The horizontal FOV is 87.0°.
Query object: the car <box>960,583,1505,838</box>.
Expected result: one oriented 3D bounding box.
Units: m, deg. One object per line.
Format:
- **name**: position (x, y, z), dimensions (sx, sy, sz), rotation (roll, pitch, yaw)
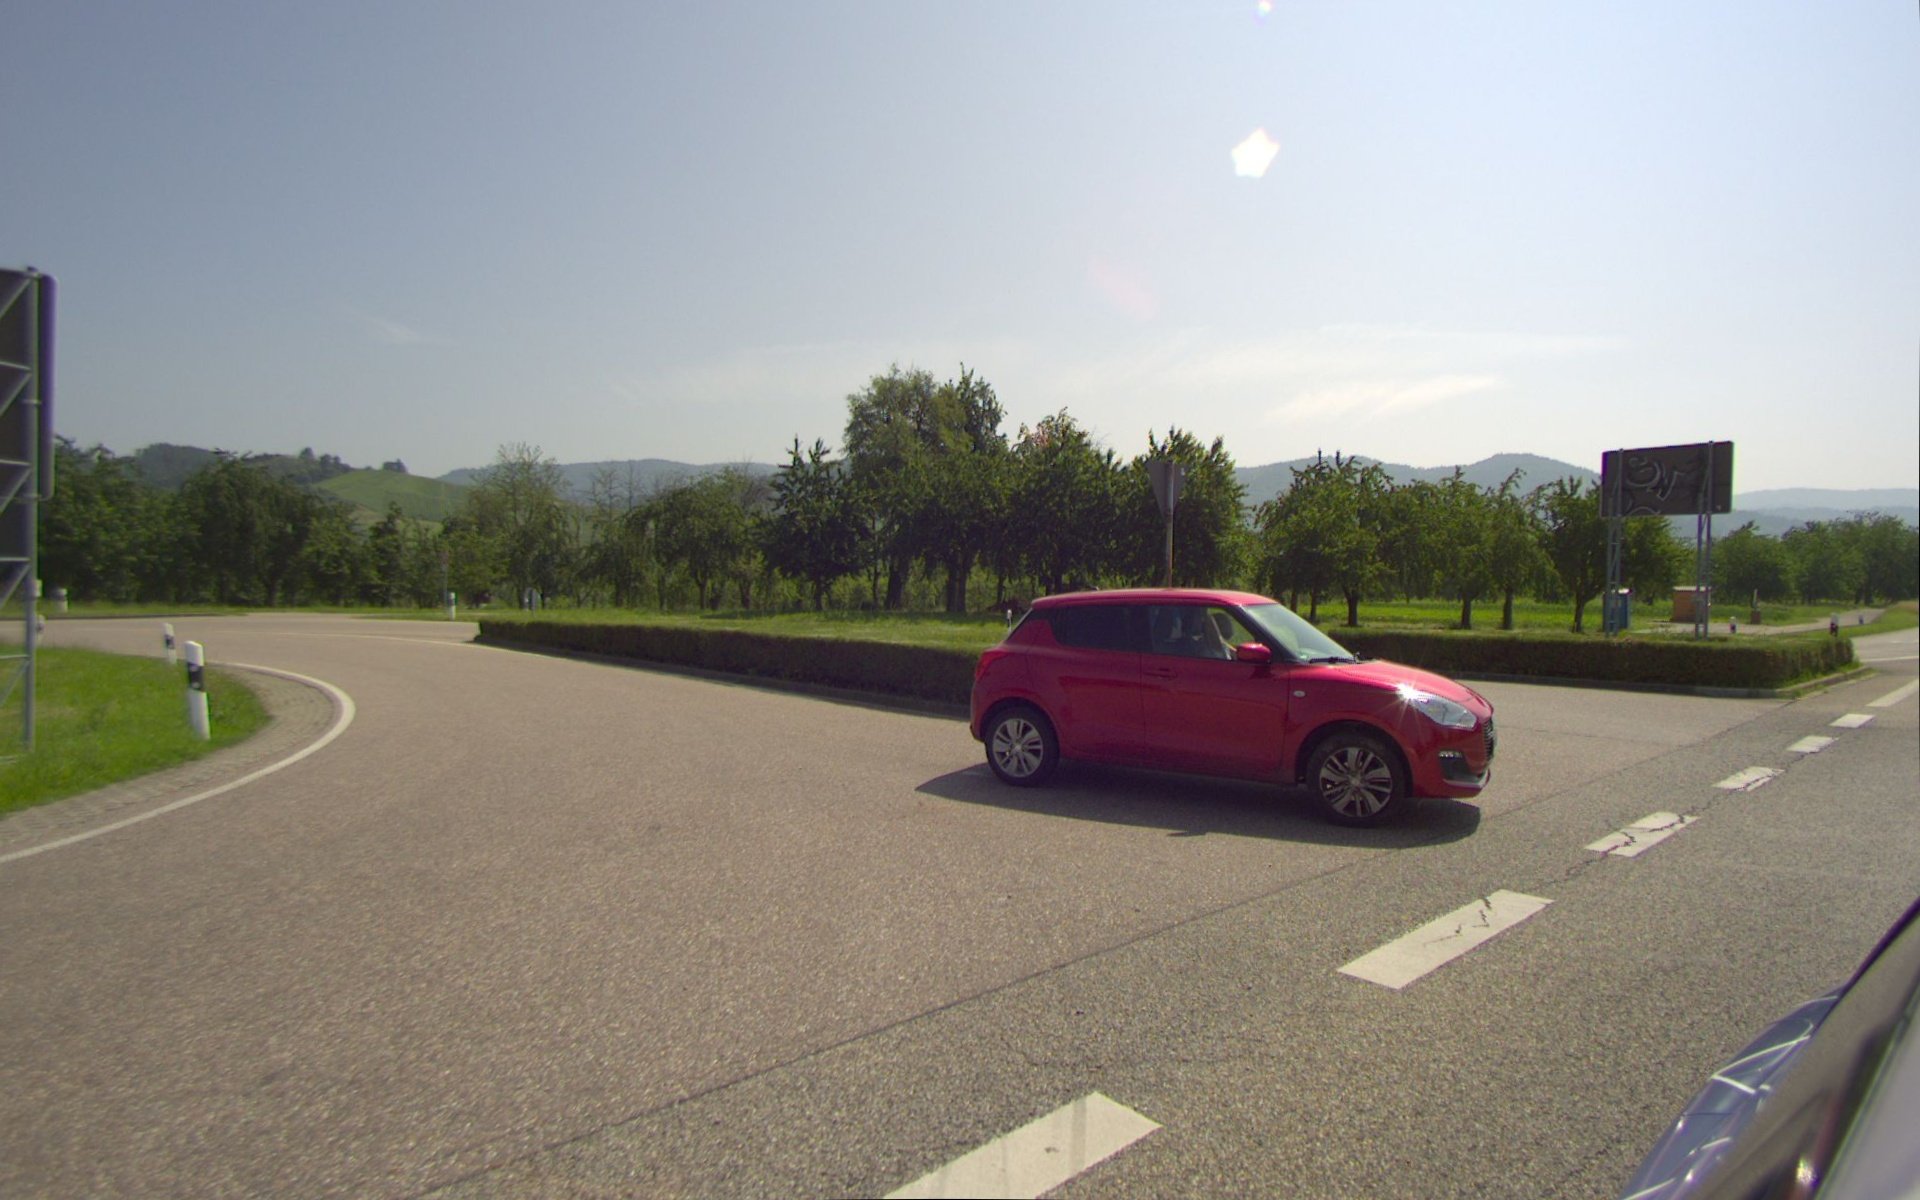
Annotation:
- **car**: position (2.006, 0.637, 7.678), dimensions (3.721, 1.511, 1.654), rotation (1, 0, 31)
